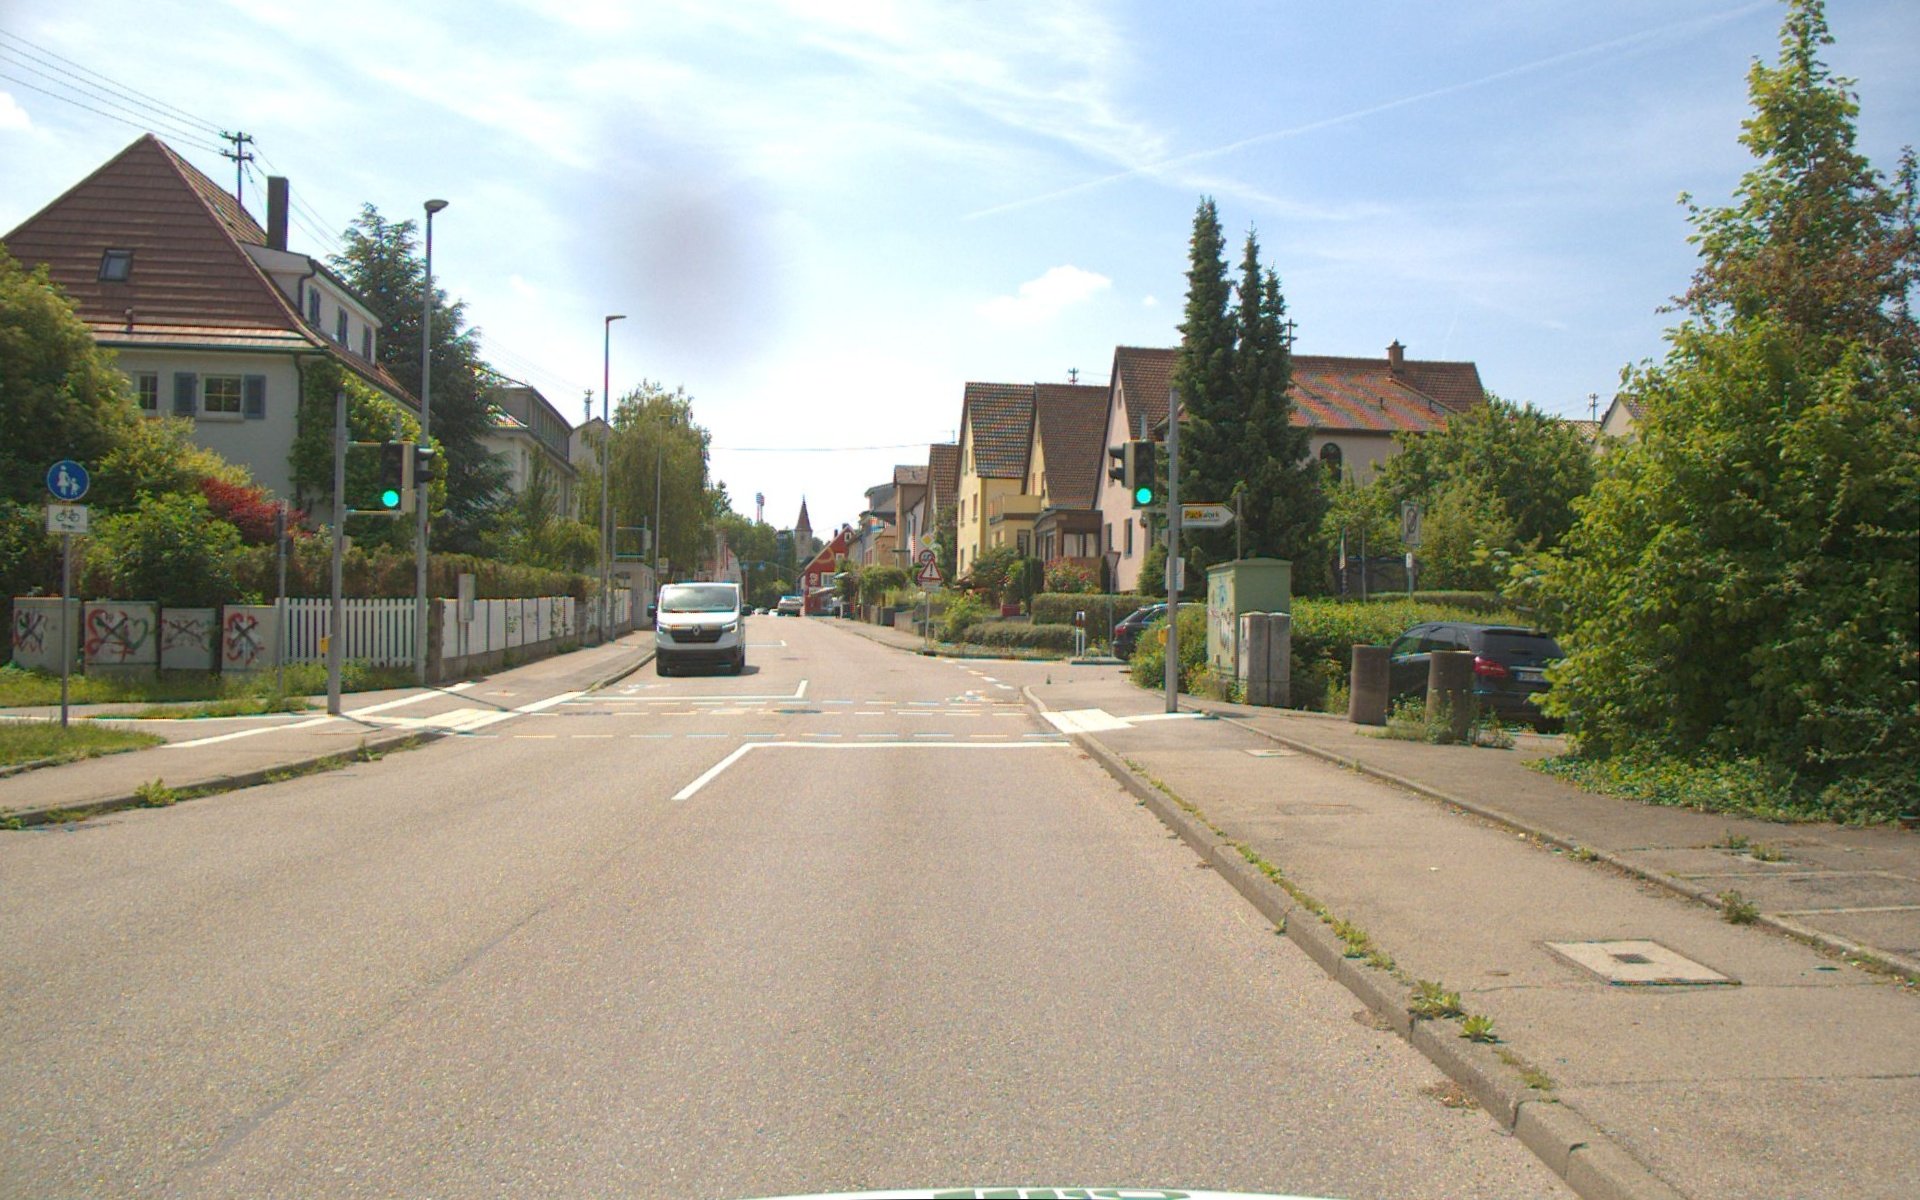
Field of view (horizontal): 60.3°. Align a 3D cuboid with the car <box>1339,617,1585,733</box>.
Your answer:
[{"bbox_3d":[7.454,1.112,24.973,1.681,1.579,4.048,2,-2,-15],"label":"car"}]

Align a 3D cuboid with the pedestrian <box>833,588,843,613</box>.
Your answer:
[{"bbox_3d":[-8.679,0.034,117.350,0.634,1.760,0.607,-2,1,-8],"label":"pedestrian"}]

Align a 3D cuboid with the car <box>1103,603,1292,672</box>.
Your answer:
[{"bbox_3d":[5.598,0.873,39.200,4.206,1.568,1.538,0,1,-4],"label":"car"}]

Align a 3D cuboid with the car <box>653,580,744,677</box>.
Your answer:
[{"bbox_3d":[-5.821,0.580,37.186,1.844,1.999,4.894,-1,0,-8],"label":"car"}]

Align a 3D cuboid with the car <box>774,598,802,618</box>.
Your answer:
[{"bbox_3d":[-14.128,0.650,135.580,1.958,1.588,4.303,0,0,-10],"label":"car"}]
